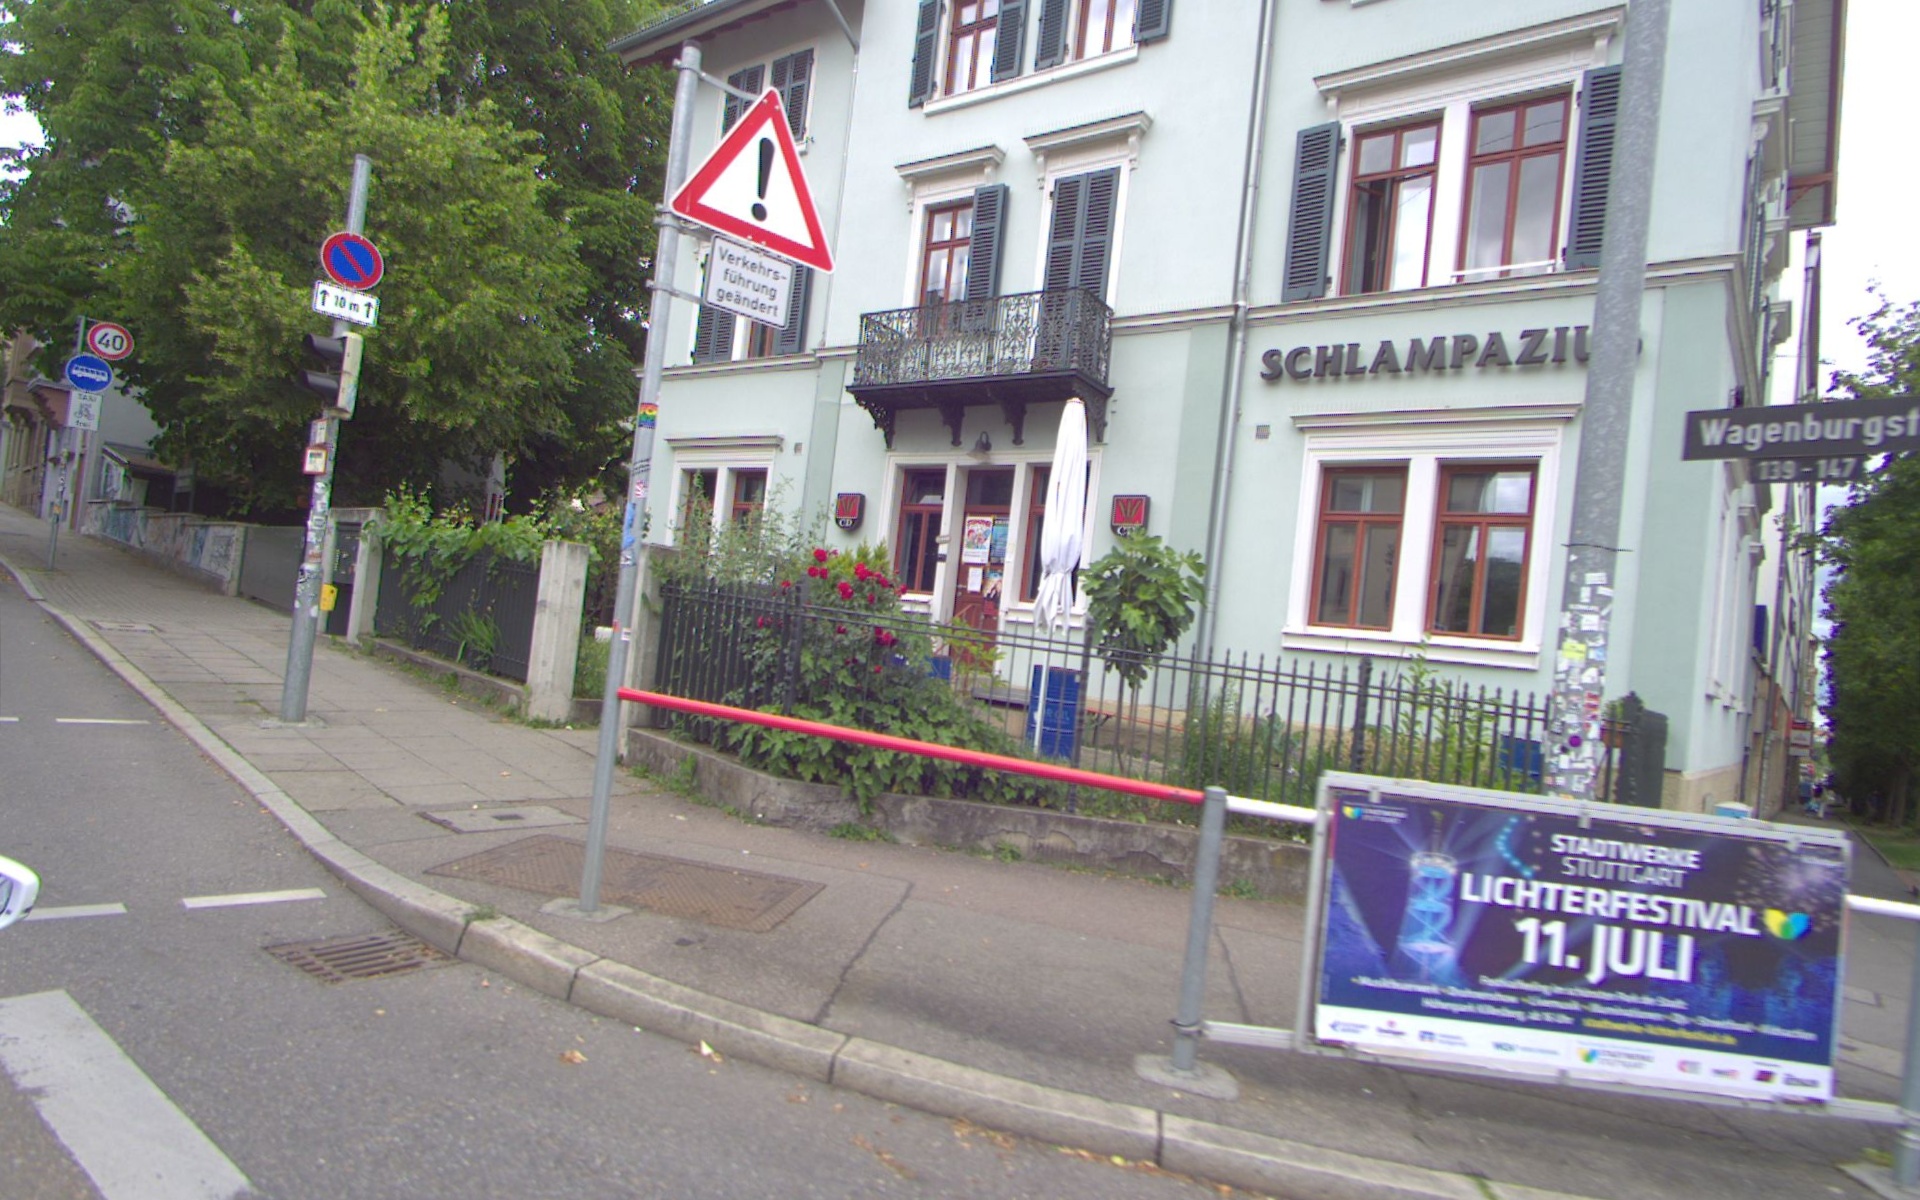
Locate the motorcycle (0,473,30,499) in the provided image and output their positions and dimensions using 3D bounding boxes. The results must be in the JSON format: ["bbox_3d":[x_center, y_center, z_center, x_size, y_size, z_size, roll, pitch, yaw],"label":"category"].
[{"bbox_3d":[-57.792,-6.985,60.790,0.995,1.282,2.057,8,-2,38],"label":"motorcycle"}]
